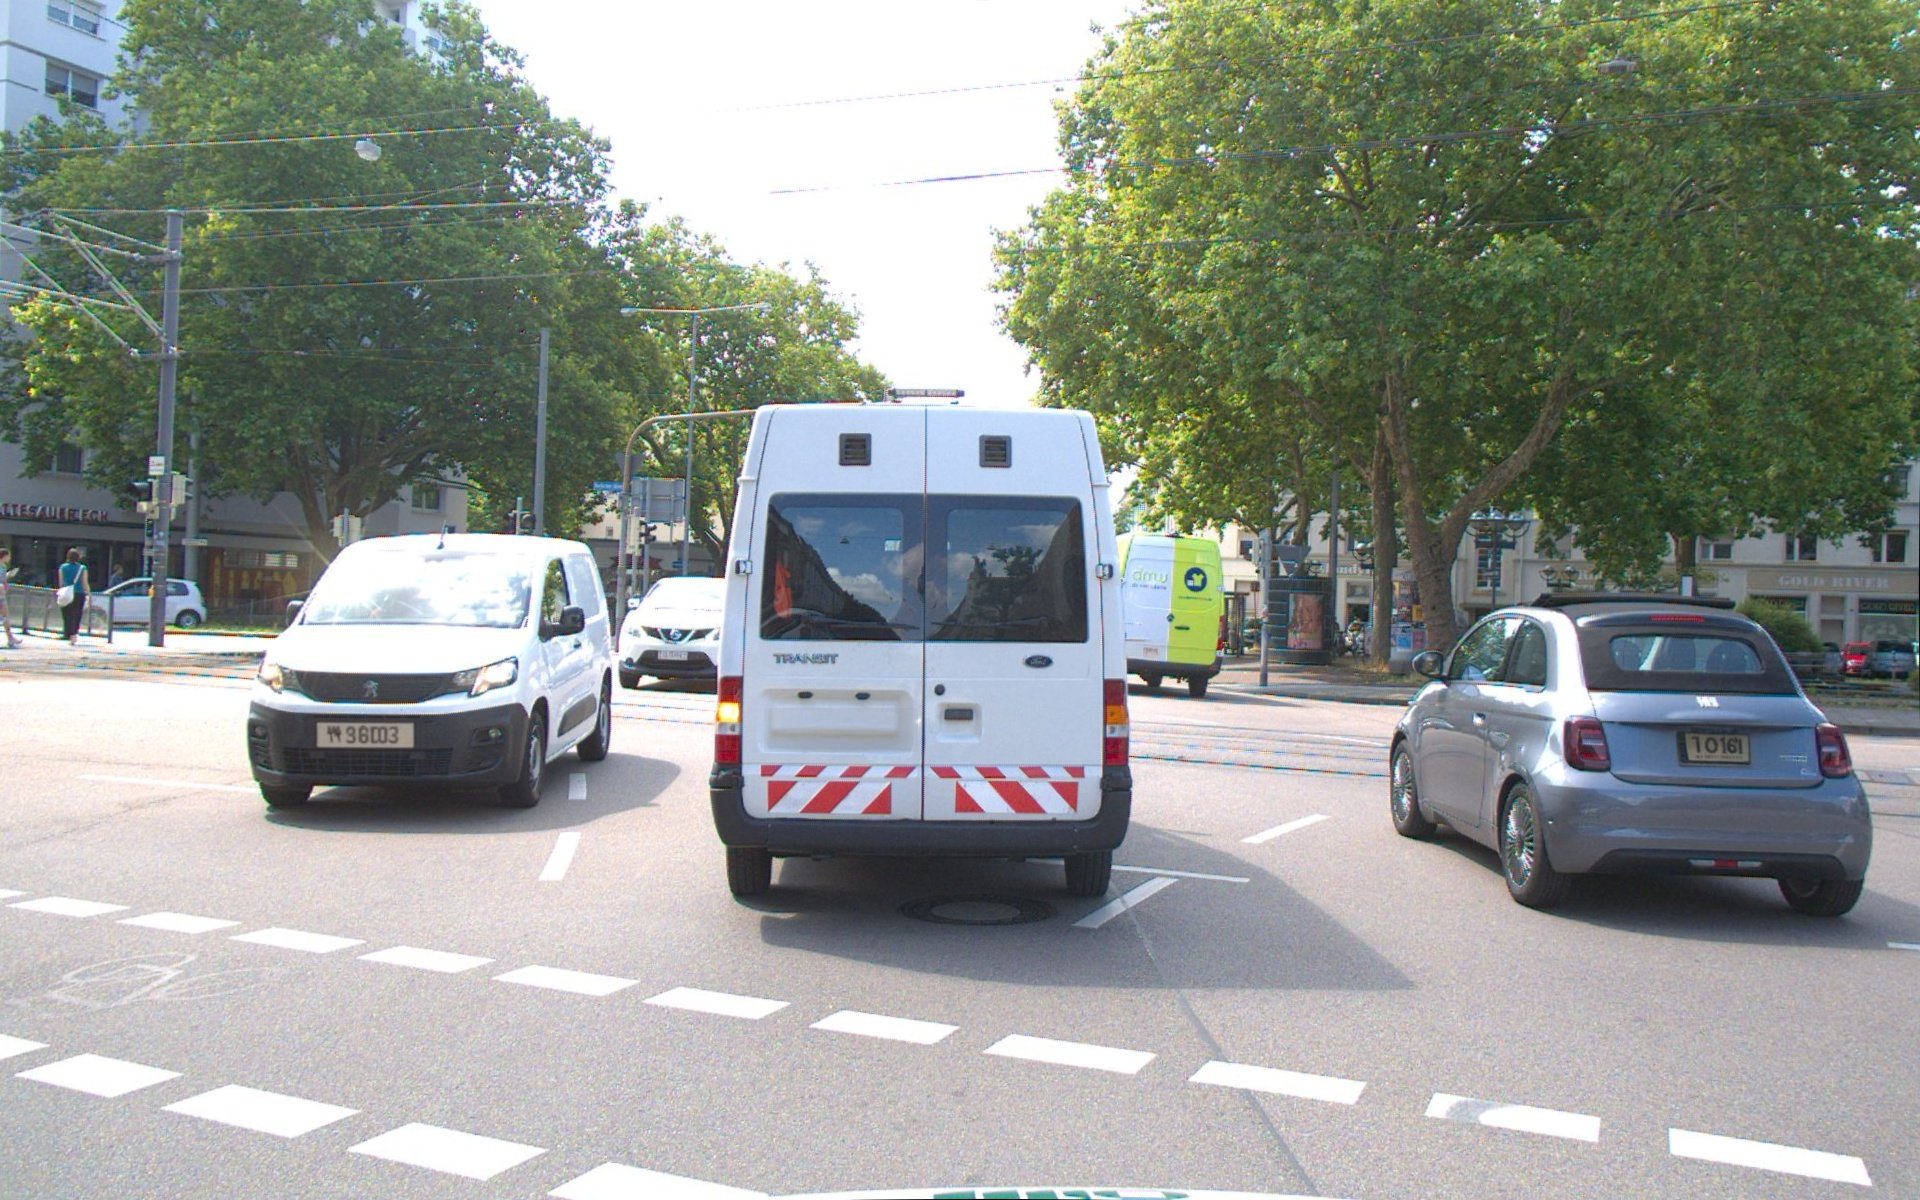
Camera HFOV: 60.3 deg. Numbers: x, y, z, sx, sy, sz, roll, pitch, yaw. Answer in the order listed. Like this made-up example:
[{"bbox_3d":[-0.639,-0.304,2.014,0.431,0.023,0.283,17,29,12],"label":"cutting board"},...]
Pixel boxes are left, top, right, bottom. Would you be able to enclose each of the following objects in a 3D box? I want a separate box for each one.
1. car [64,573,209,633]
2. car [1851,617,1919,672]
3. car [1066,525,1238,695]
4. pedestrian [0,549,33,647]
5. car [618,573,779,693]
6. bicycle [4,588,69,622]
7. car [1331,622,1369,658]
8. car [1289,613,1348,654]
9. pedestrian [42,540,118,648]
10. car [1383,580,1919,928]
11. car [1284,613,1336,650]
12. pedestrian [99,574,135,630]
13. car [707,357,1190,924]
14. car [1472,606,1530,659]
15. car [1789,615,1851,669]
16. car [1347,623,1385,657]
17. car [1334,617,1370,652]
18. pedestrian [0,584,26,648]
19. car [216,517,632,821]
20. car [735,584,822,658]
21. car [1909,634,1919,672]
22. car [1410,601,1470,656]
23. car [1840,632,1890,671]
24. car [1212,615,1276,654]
[{"bbox_3d":[-23.467,0.100,47.141,3.531,1.571,1.540,2,-1,-33],"label":"car"},{"bbox_3d":[36.672,1.747,65.469,1.953,2.049,3.999,1,-1,21],"label":"car"},{"bbox_3d":[3.321,0.154,29.986,2.077,2.687,6.325,2,0,-2],"label":"car"},{"bbox_3d":[-16.626,-0.036,28.785,0.663,1.695,0.623,1,0,38],"label":"pedestrian"},{"bbox_3d":[-3.756,0.423,24.390,1.734,1.610,4.020,0,1,0],"label":"car"},{"bbox_3d":[-29.422,0.154,52.688,1.712,1.027,0.526,2,-1,-40],"label":"bicycle"},{"bbox_3d":[16.350,1.668,69.224,1.434,1.413,3.069,2,-1,14],"label":"car"},{"bbox_3d":[16.158,1.500,74.436,1.866,1.719,4.538,1,-1,21],"label":"car"},{"bbox_3d":[-16.040,-0.109,30.146,0.826,1.932,0.829,1,-1,23],"label":"pedestrian"},{"bbox_3d":[3.663,0.703,9.426,1.657,1.564,3.469,2,0,1],"label":"car"},{"bbox_3d":[18.093,1.636,85.347,1.866,1.827,4.721,1,-1,21],"label":"car"},{"bbox_3d":[-25.302,0.063,49.623,0.766,1.626,0.535,2,0,20],"label":"pedestrian"},{"bbox_3d":[-0.173,0.166,9.441,2.006,2.373,4.711,2,0,-3],"label":"car"},{"bbox_3d":[23.201,1.396,70.852,1.953,2.112,3.998,2,-1,24],"label":"car"},{"bbox_3d":[34.642,1.686,66.679,1.954,2.049,3.997,1,-1,24],"label":"car"},{"bbox_3d":[17.922,1.749,72.957,1.434,1.413,3.237,2,-1,16],"label":"car"},{"bbox_3d":[19.987,1.758,84.319,1.435,1.695,3.068,2,-1,19],"label":"car"},{"bbox_3d":[-16.291,0.266,28.256,0.428,1.082,0.418,1,-1,38],"label":"pedestrian"},{"bbox_3d":[-3.653,0.381,12.115,1.776,1.806,4.282,1,1,-2],"label":"car"},{"bbox_3d":[-4.046,0.450,37.293,1.712,1.567,3.929,-1,0,-3],"label":"car"},{"bbox_3d":[43.532,2.368,73.805,1.704,1.666,3.997,1,-1,25],"label":"car"},{"bbox_3d":[20.789,1.242,71.539,1.953,2.221,4.255,2,-1,24],"label":"car"},{"bbox_3d":[41.008,2.301,75.002,1.704,1.666,3.997,1,-1,25],"label":"car"},{"bbox_3d":[12.944,1.569,75.282,1.986,1.628,4.538,1,-1,21],"label":"car"}]
